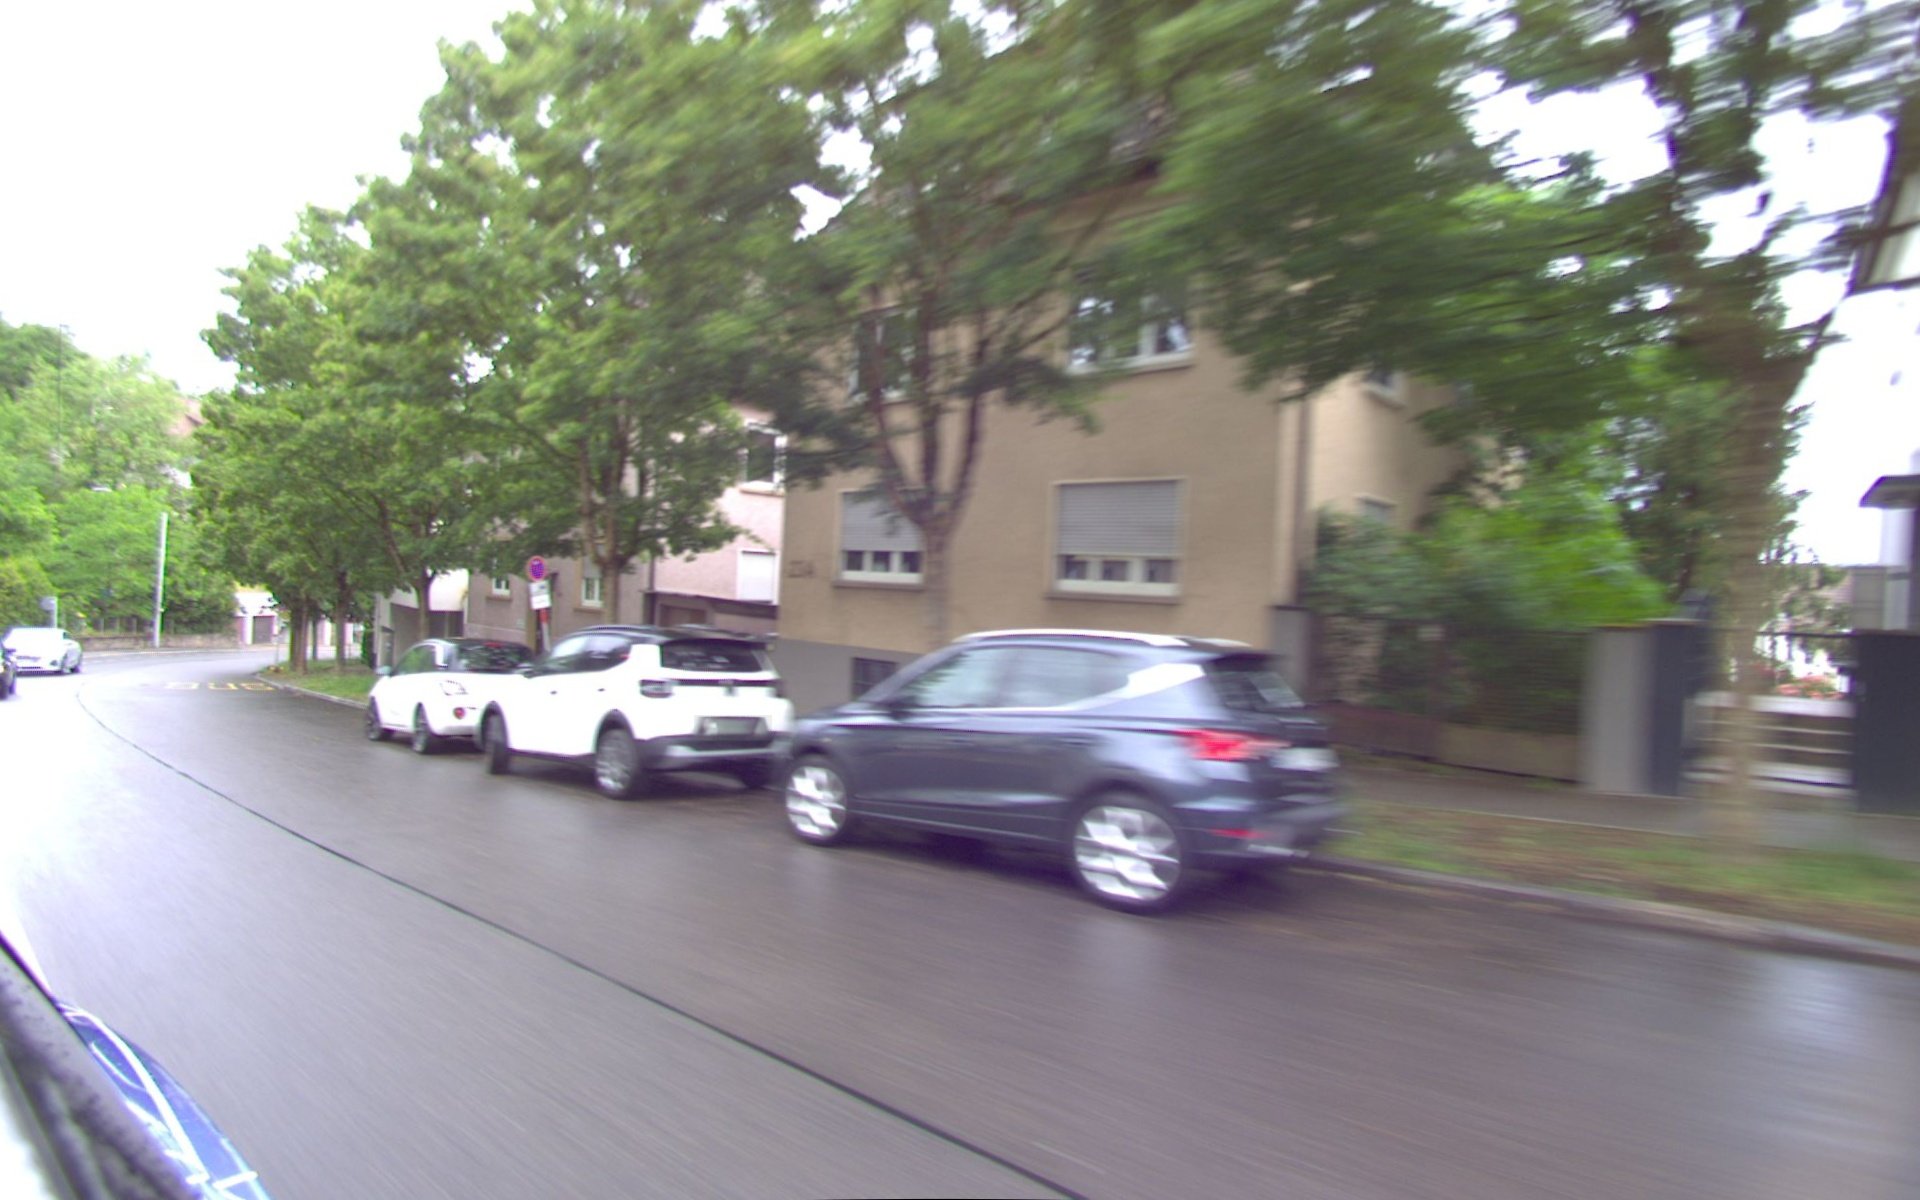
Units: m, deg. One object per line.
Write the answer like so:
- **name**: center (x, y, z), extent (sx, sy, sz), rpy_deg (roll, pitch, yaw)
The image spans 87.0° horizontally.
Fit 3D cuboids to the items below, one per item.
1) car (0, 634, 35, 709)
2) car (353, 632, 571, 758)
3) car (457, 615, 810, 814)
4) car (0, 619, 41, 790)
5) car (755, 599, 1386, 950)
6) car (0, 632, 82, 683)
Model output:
- **car**: center (-21.003, 1.475, 21.494), extent (1.782, 1.500, 4.019), rpy_deg (4, -4, -45)
- **car**: center (-6.928, 1.250, 13.904), extent (1.598, 1.482, 3.672), rpy_deg (9, -7, -42)
- **car**: center (-3.477, 1.072, 10.430), extent (3.922, 1.671, 1.575), rpy_deg (-1, -7, 42)
- **car**: center (-8.413, 0.826, 7.552), extent (1.552, 1.463, 3.597), rpy_deg (3, -4, -31)
- **car**: center (0.550, 0.921, 6.752), extent (3.921, 1.671, 1.601), rpy_deg (-1, -6, 41)
- **car**: center (-32.506, 1.986, 35.535), extent (1.980, 1.674, 4.456), rpy_deg (3, -4, -35)
